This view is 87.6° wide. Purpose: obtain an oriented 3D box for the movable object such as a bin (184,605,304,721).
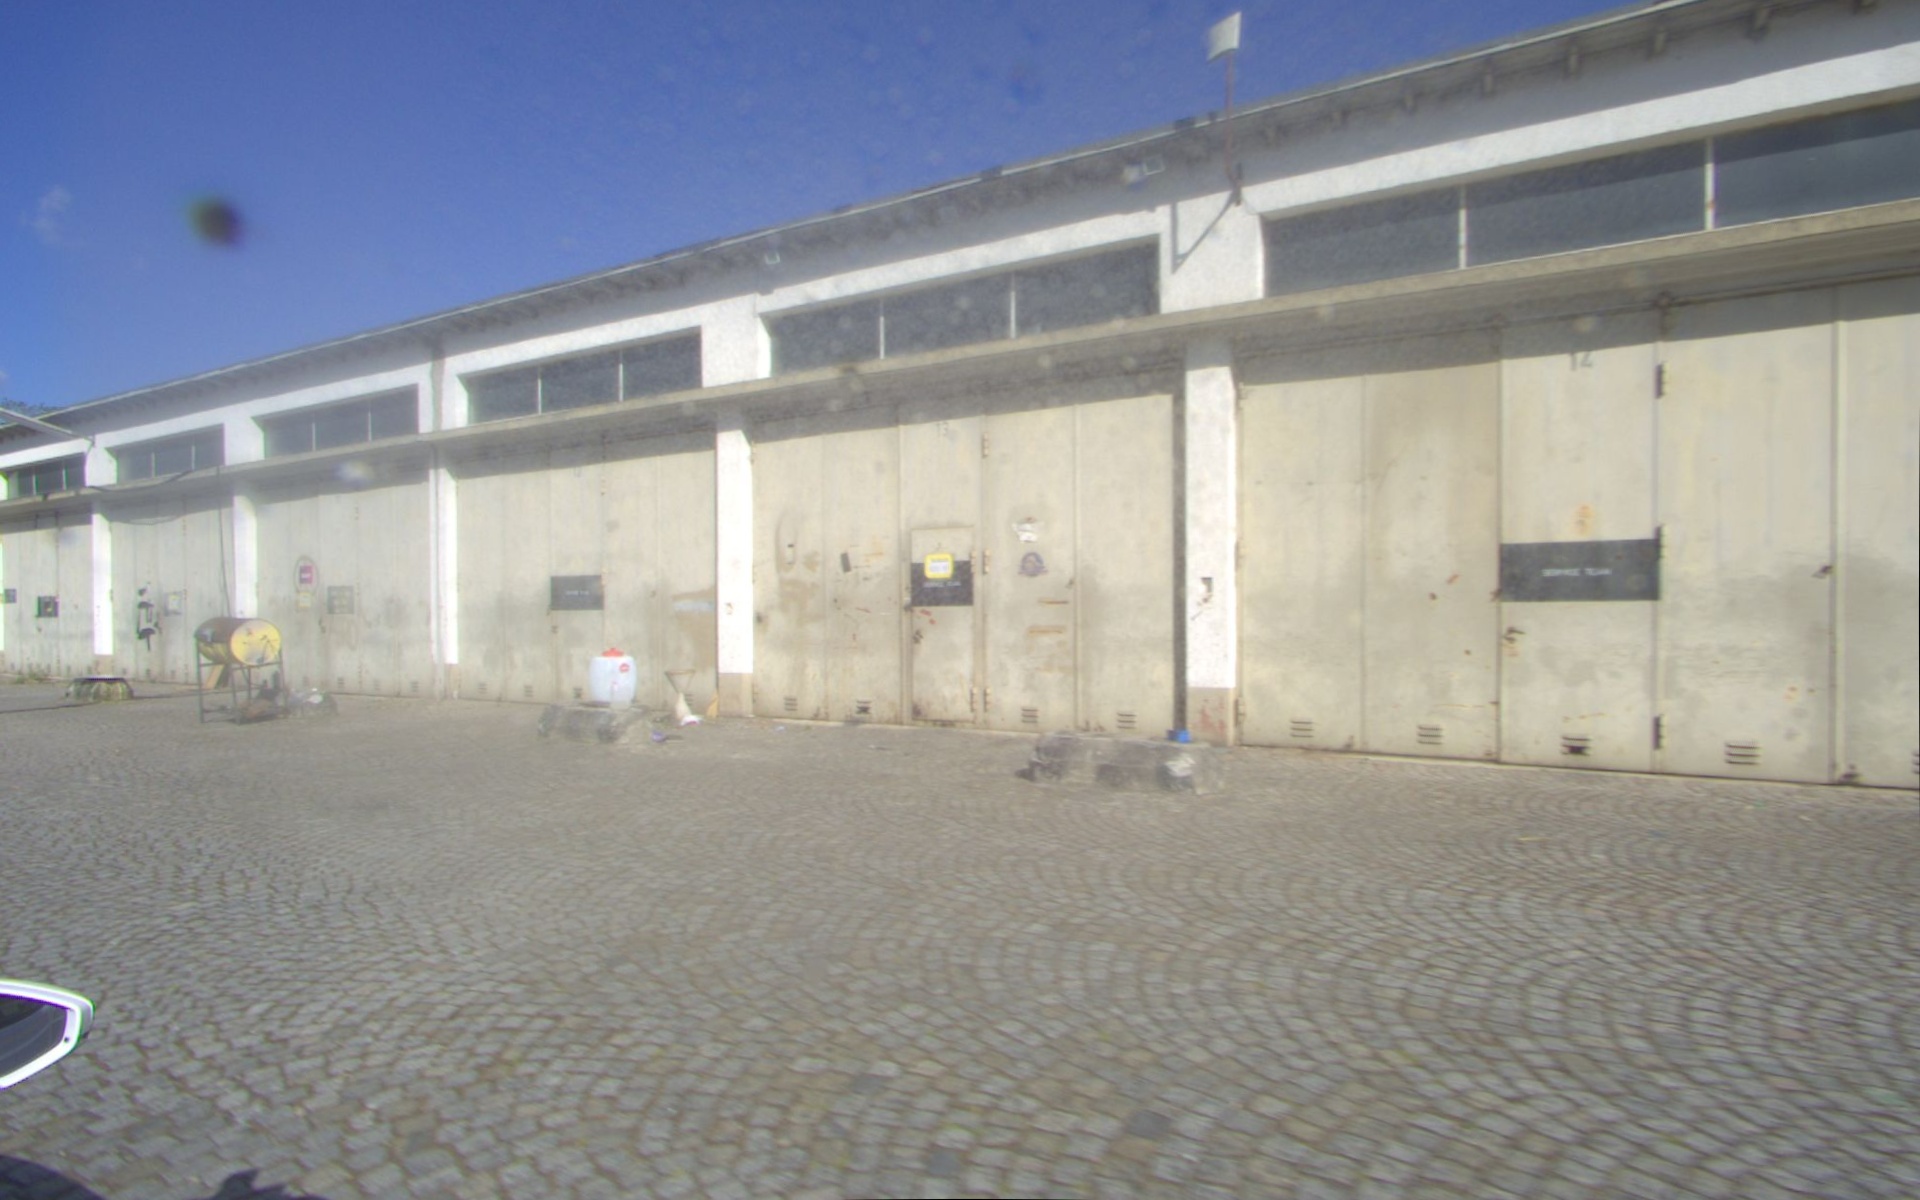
[{"bbox_3d":[-9.253,0.784,12.957,1.084,1.420,0.874,0,0,29],"label":"movable object such as a bin"}]
